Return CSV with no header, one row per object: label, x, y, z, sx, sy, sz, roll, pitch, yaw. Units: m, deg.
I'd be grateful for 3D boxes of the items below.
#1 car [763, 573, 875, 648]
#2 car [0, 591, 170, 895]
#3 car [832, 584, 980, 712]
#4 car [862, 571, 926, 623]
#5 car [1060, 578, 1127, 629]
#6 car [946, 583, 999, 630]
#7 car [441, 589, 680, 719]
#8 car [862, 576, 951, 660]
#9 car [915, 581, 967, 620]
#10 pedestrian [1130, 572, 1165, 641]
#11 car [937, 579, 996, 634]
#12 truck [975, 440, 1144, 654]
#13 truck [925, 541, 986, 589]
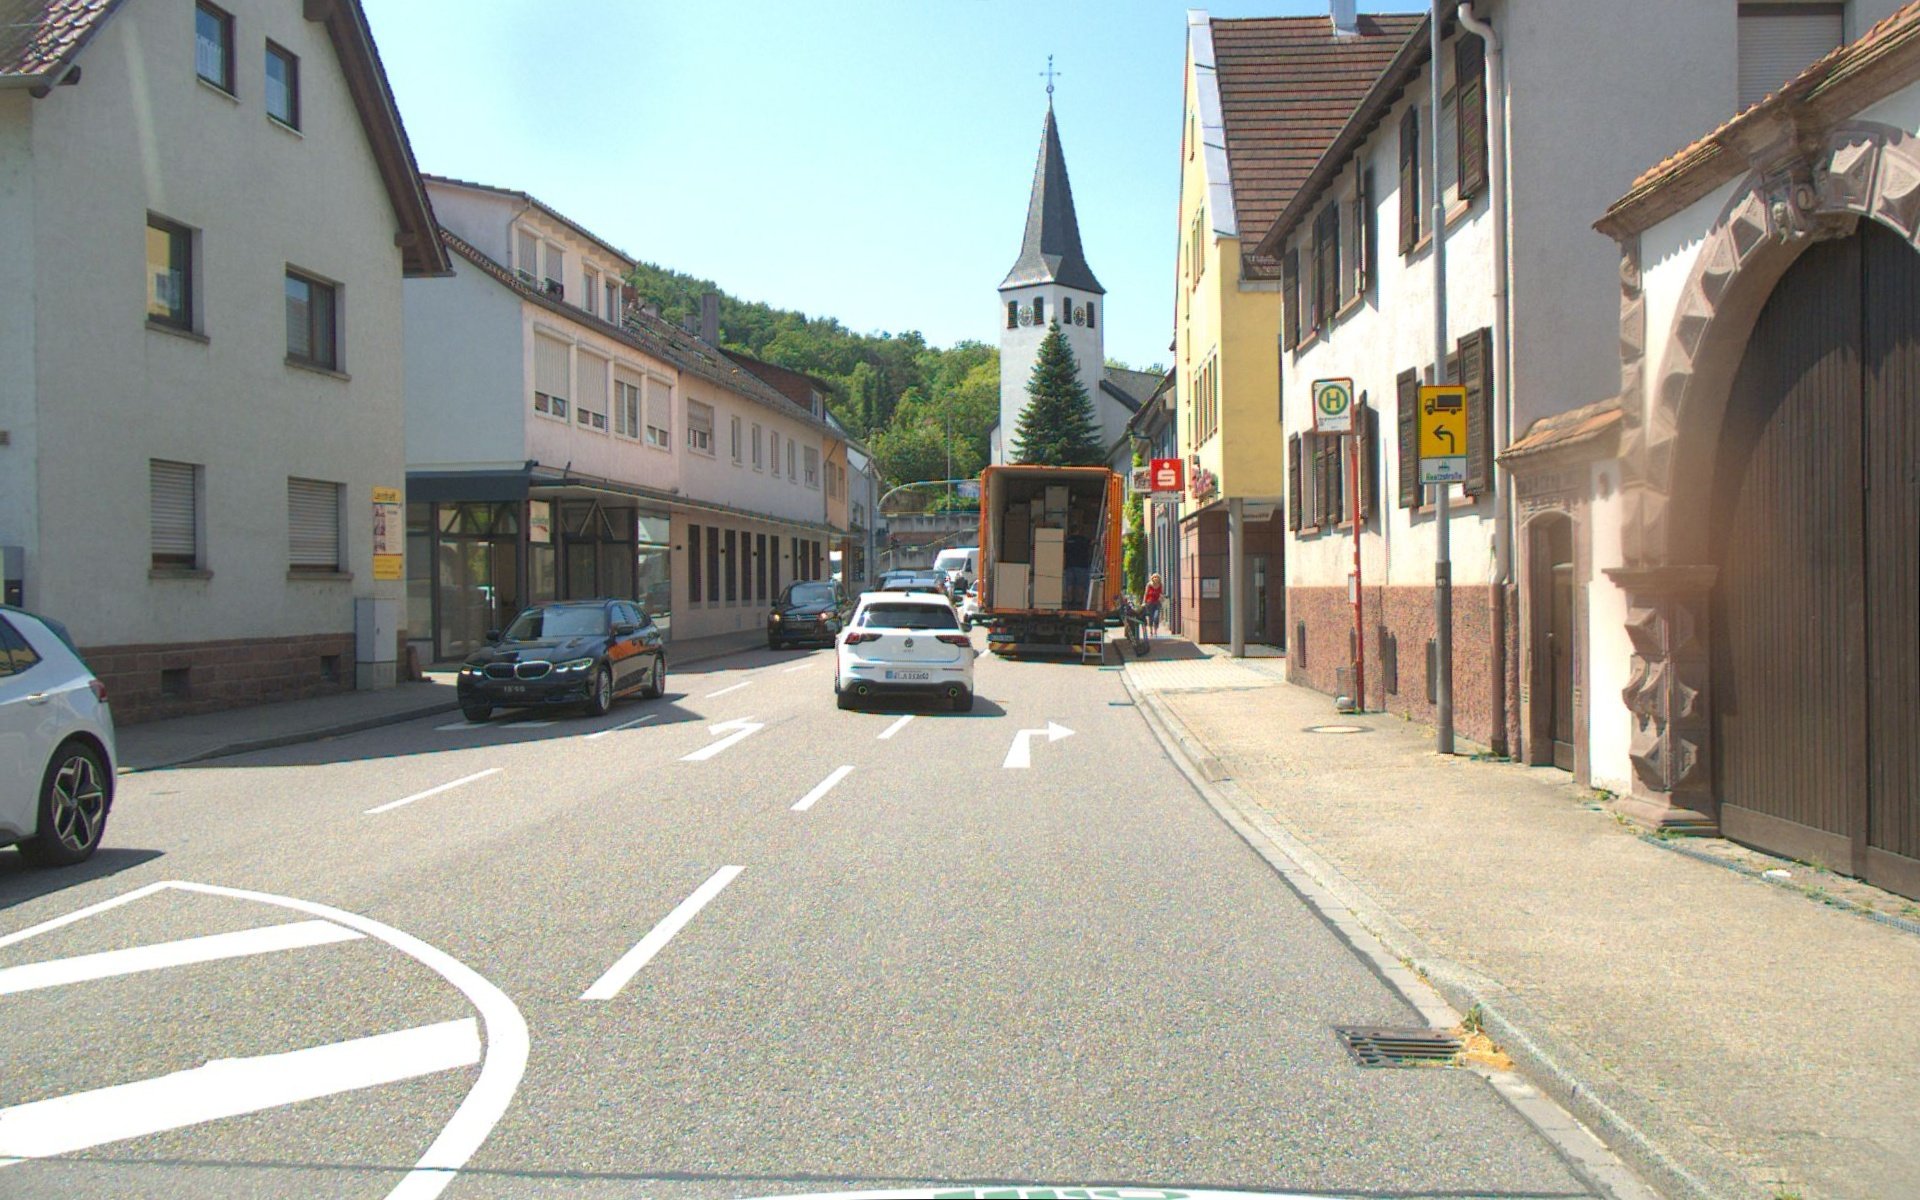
car,-3.535,0.227,42.154,1.655,1.728,4.116,-2,1,12
car,-5.780,0.750,7.950,1.758,1.534,4.135,-2,0,3
car,-0.679,0.597,22.019,1.778,1.545,3.999,0,0,-1
car,-2.421,-0.149,61.740,1.763,1.811,4.708,-2,1,5
car,4.294,0.115,53.688,1.778,1.545,3.999,-2,0,-1
car,0.429,0.240,59.570,1.778,1.545,3.999,-2,0,-1
car,-5.212,0.664,22.213,1.756,1.519,4.424,-2,0,5
car,-1.127,0.382,35.944,1.778,1.657,3.999,-2,0,-1
car,-0.839,0.025,75.166,1.951,1.680,4.002,-2,0,5
pedestrian,4.931,0.173,43.579,0.753,1.773,0.870,-2,-1,-3
car,0.170,0.204,53.678,1.778,1.657,3.999,-2,0,-1
truck,2.147,-1.050,38.373,3.297,4.243,9.520,-2,0,1
truck,-0.216,-1.942,94.321,2.073,2.517,5.741,-2,0,14
